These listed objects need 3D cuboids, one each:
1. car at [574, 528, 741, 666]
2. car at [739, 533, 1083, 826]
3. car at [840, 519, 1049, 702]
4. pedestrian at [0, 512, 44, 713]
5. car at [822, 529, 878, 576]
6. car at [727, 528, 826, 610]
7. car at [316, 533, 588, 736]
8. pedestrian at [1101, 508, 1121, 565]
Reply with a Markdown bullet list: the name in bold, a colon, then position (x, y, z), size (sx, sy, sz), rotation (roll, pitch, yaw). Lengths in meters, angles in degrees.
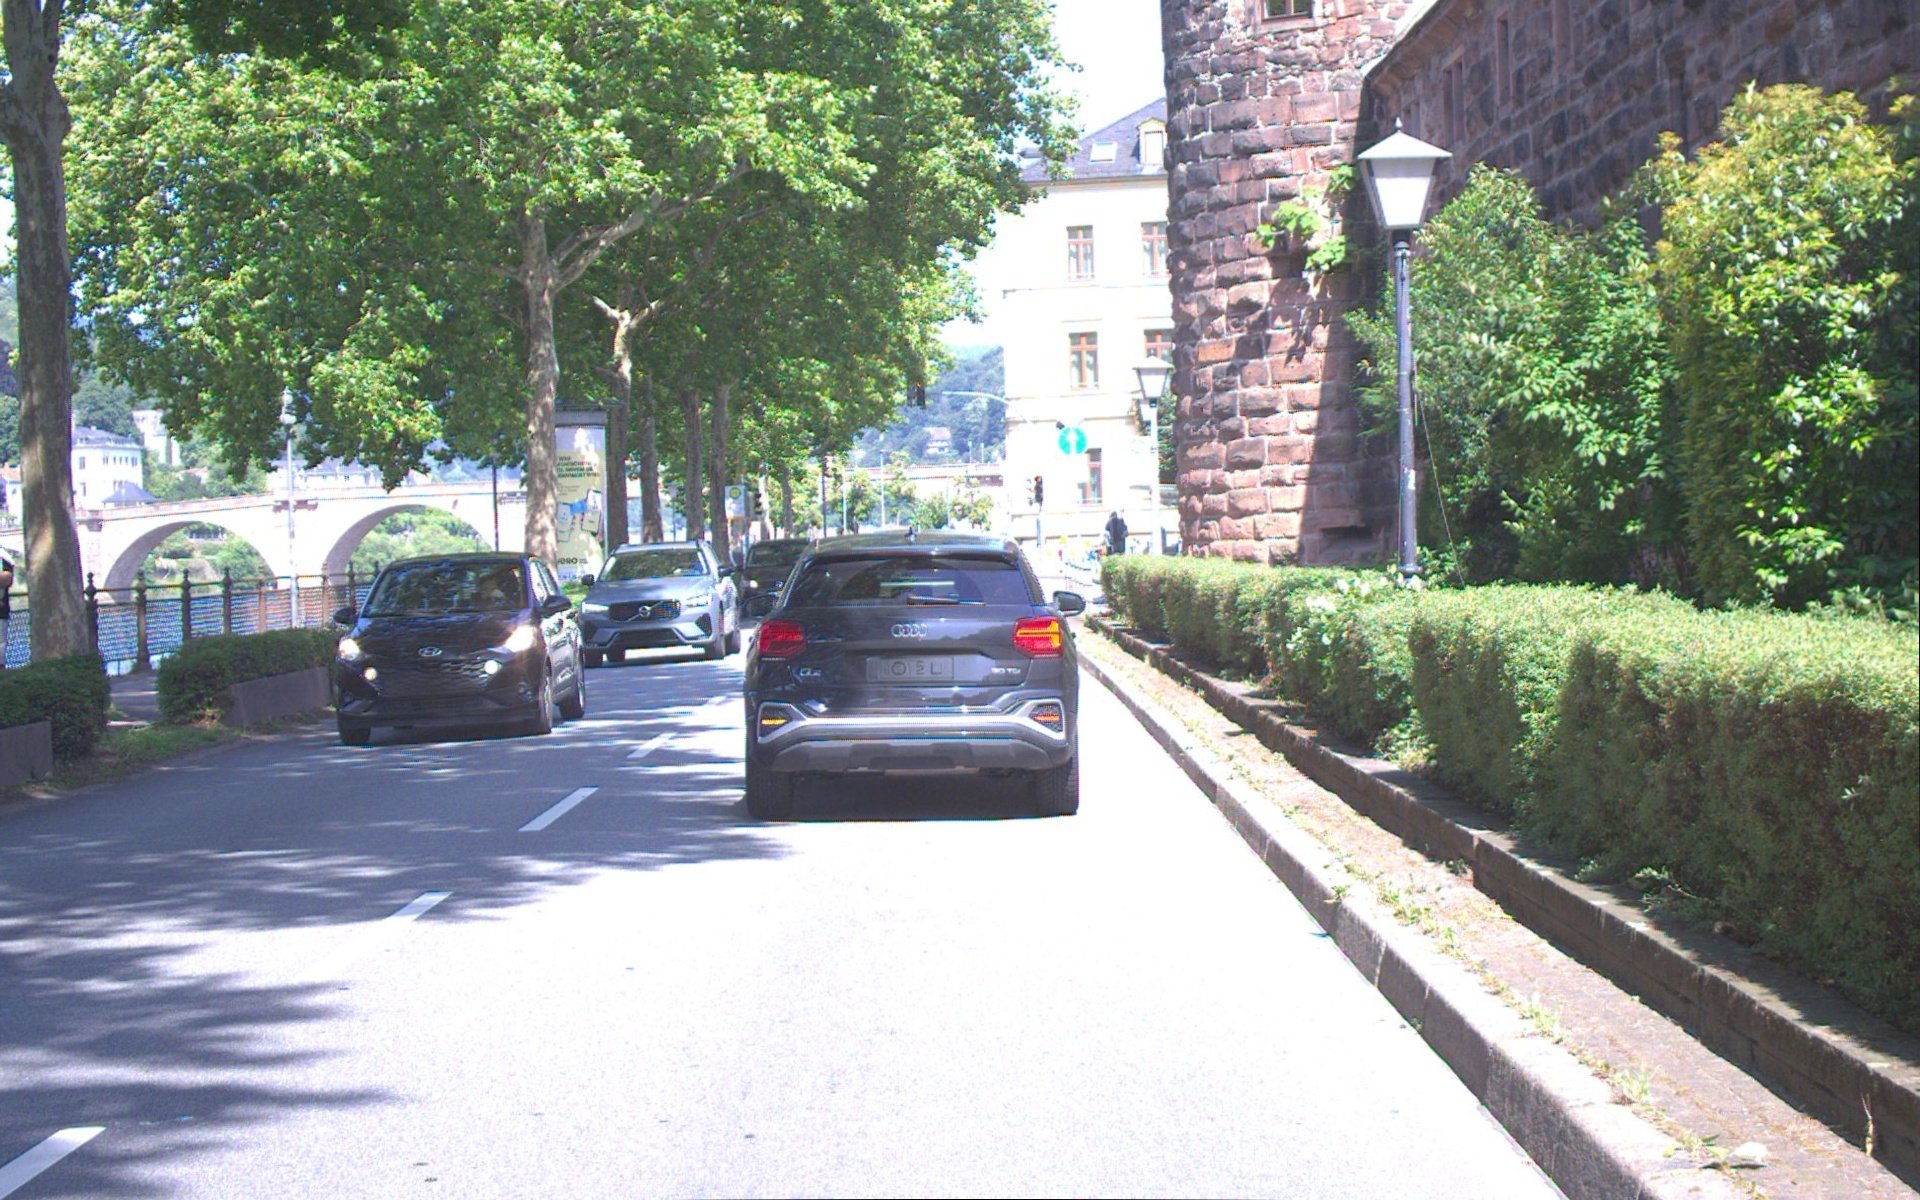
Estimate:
- **car**: position (-4.097, -0.073, 47.092), size (1.877, 1.692, 4.259), rotation (-3, 1, -1)
- **car**: position (-0.283, 0.370, 19.307), size (1.748, 1.489, 3.629), rotation (0, 1, -1)
- **car**: position (-0.115, 0.056, 32.604), size (1.801, 1.557, 3.716), rotation (-3, 1, 1)
- **pedestrian**: position (-9.075, 0.118, 32.255), size (0.641, 1.864, 0.806), rotation (-3, 1, 1)
- **car**: position (-3.790, -1.650, 118.842), size (1.615, 1.518, 3.476), rotation (-3, 1, 2)
- **car**: position (-3.976, -0.698, 74.919), size (1.763, 1.642, 4.090), rotation (-3, 1, 1)
- **car**: position (-4.107, 0.239, 28.318), size (1.649, 1.464, 3.780), rotation (-3, 1, -1)
- **pedestrian**: position (4.278, -1.802, 97.537), size (0.557, 1.627, 0.660), rotation (0, 1, 1)
